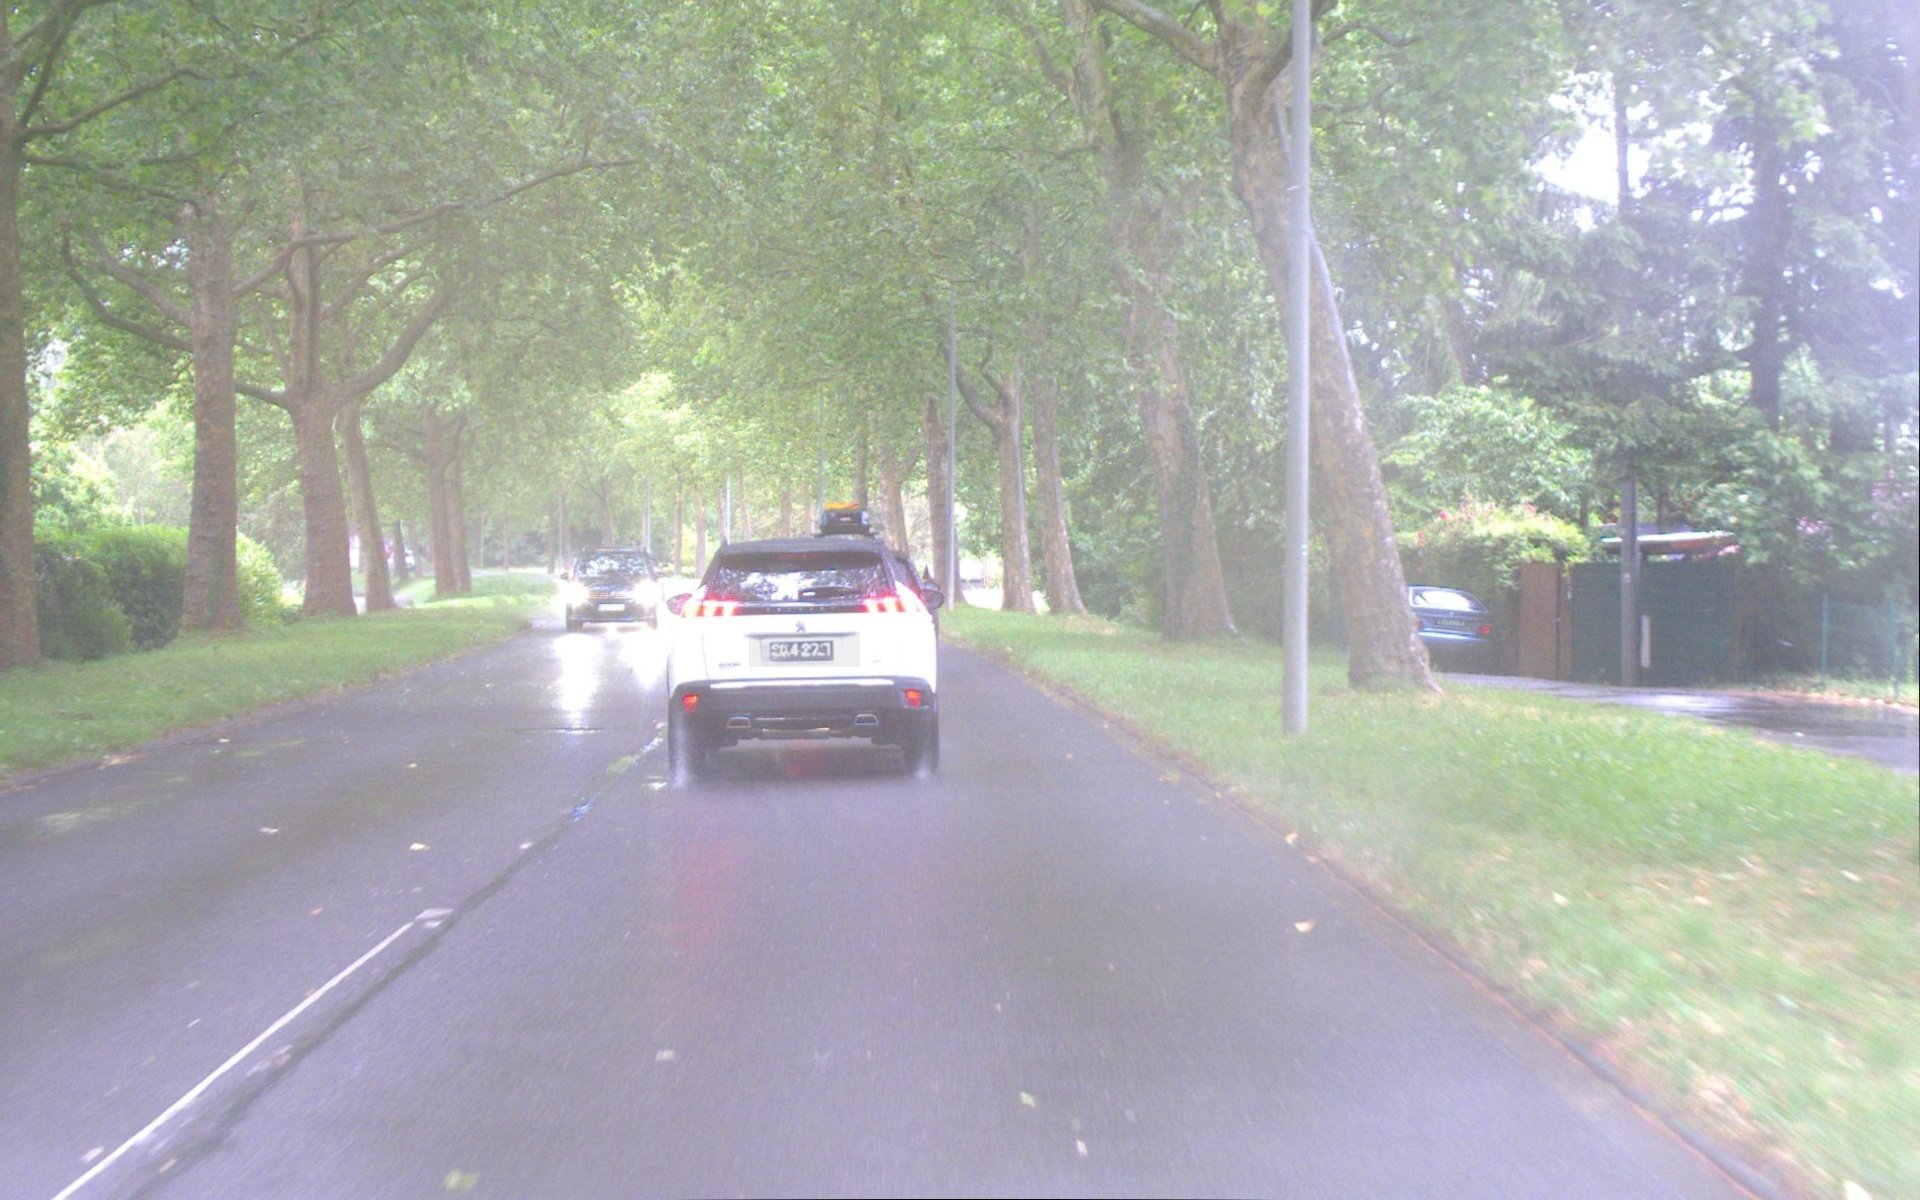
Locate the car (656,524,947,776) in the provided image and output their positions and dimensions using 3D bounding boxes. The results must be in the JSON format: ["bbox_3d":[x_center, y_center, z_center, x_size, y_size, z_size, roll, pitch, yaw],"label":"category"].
[{"bbox_3d":[-1.067,0.300,23.668,1.780,1.531,4.058,2,0,-2],"label":"car"}]

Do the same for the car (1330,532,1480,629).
[{"bbox_3d":[7.290,-0.349,56.643,1.905,1.504,3.932,1,1,0],"label":"car"}]

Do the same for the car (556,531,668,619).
[{"bbox_3d":[-6.837,-0.523,67.831,1.873,1.671,3.708,0,1,0],"label":"car"}]
